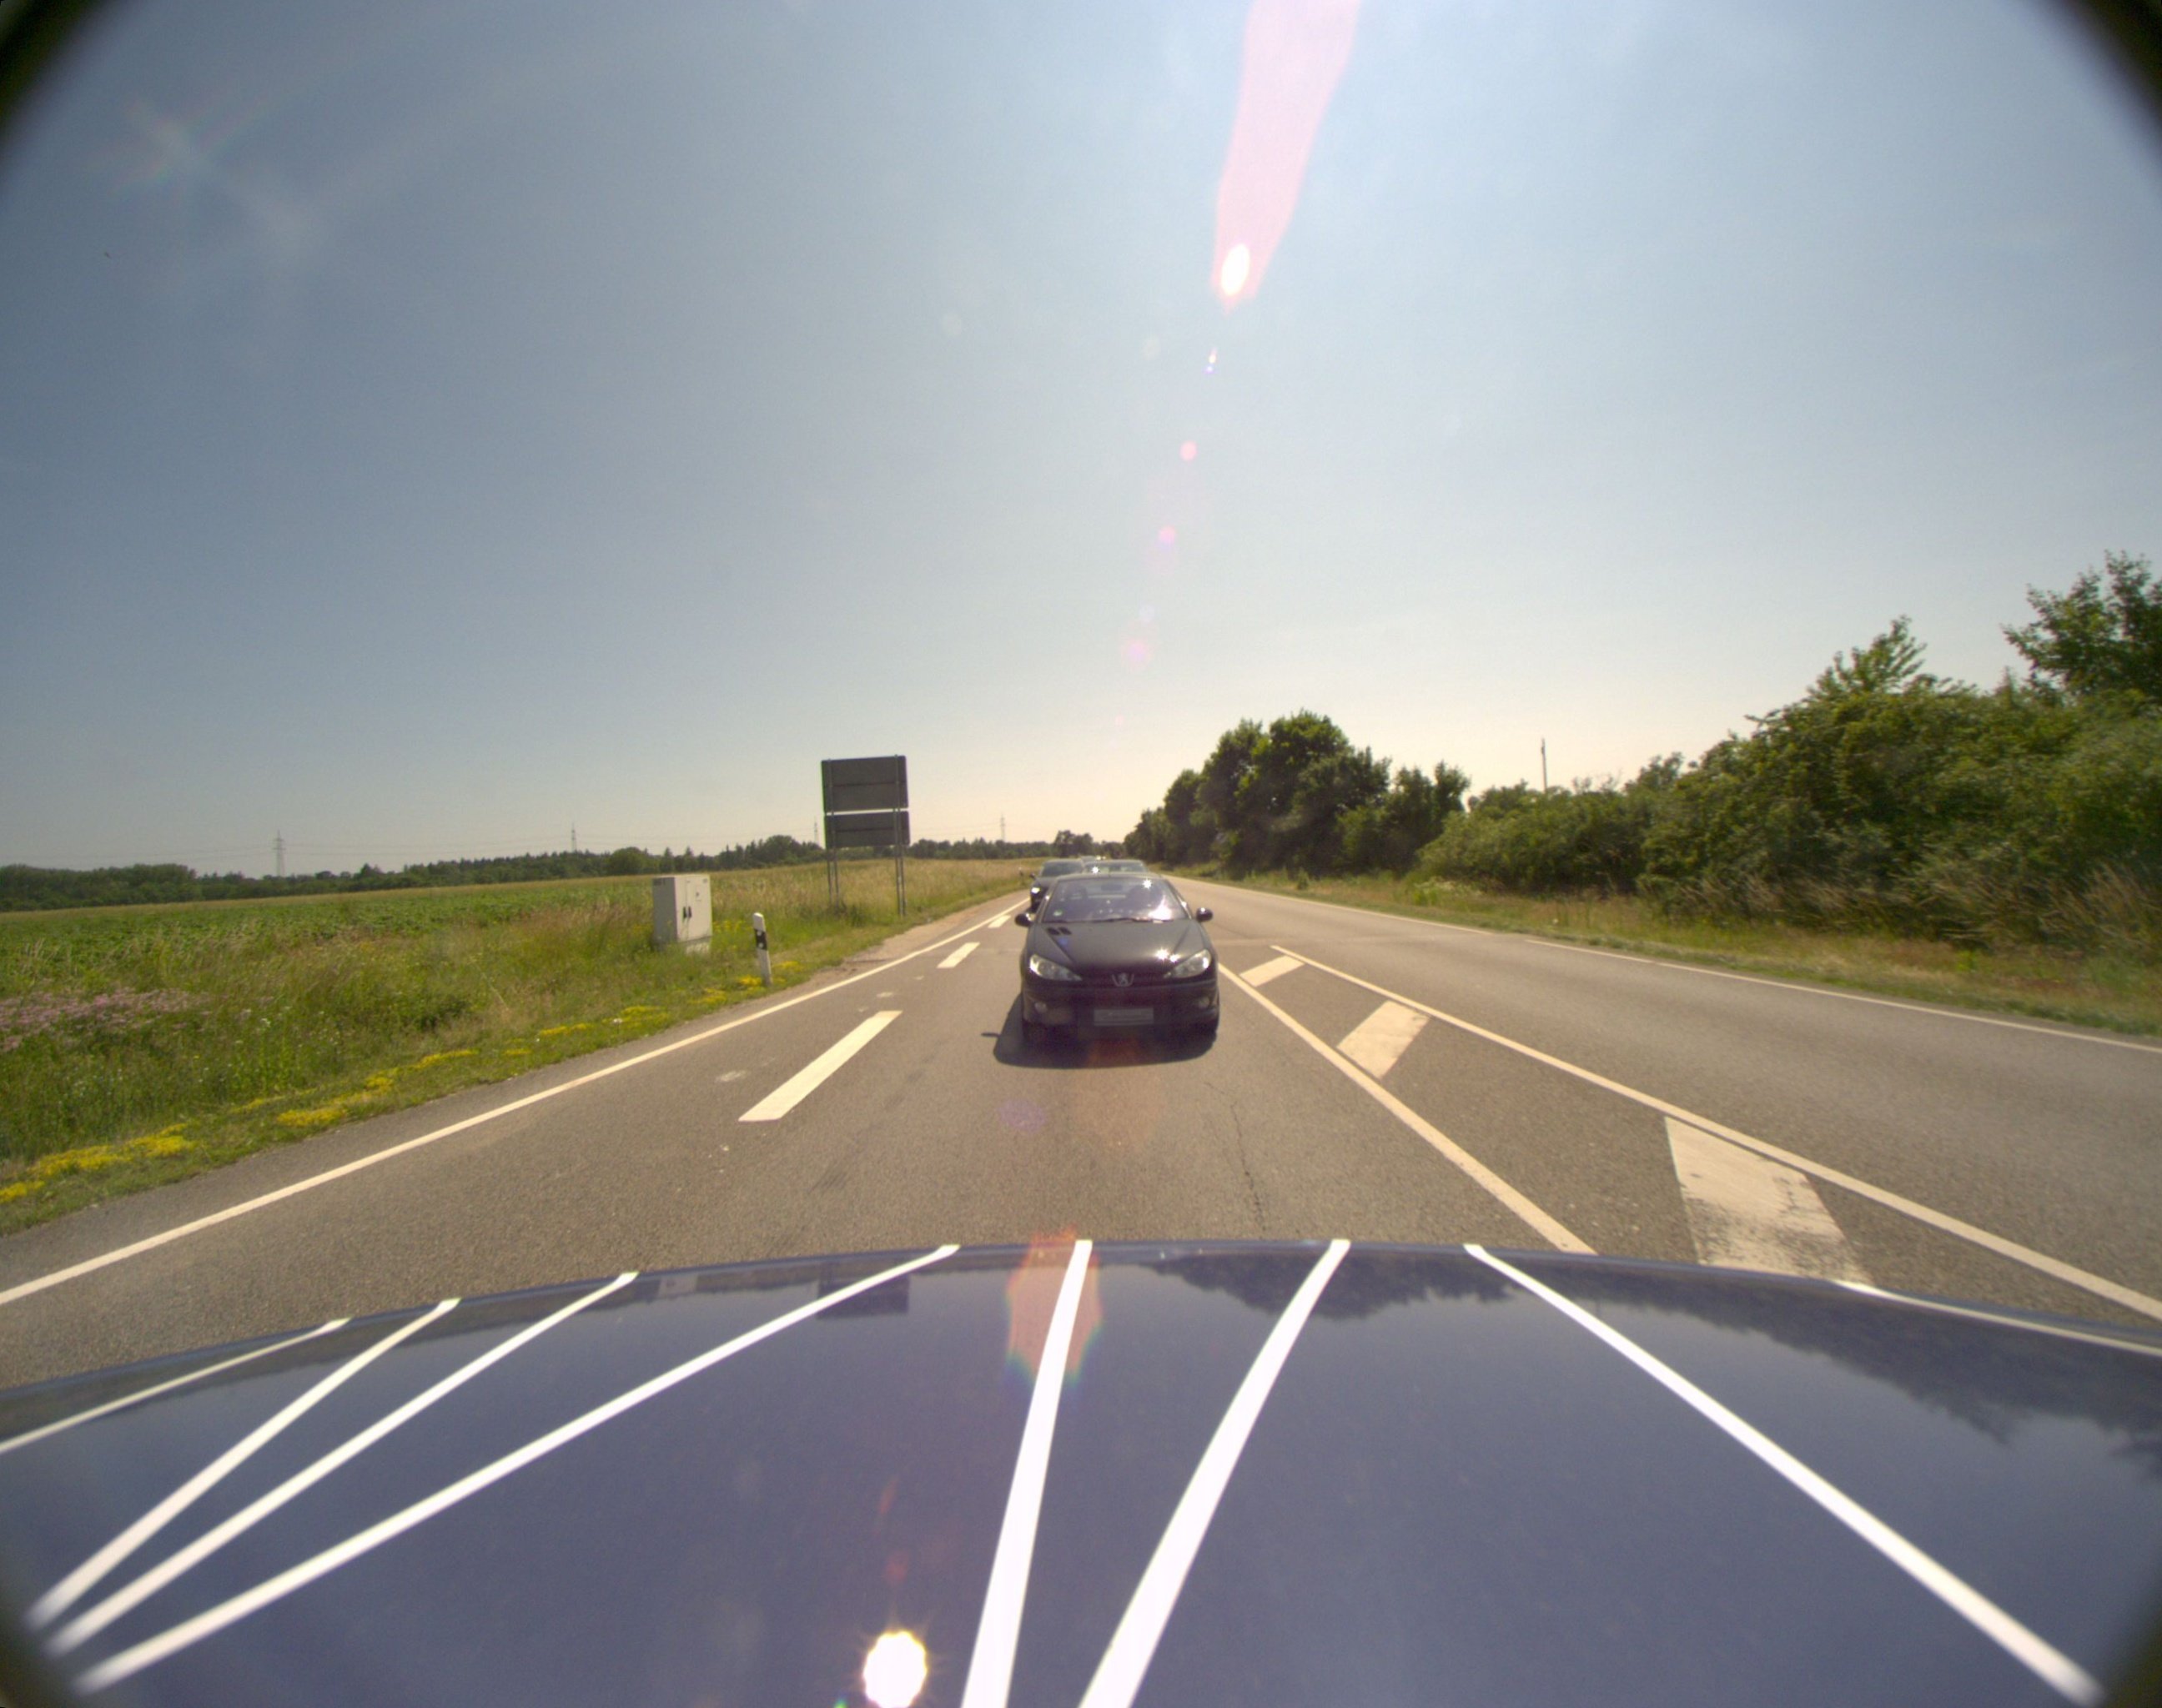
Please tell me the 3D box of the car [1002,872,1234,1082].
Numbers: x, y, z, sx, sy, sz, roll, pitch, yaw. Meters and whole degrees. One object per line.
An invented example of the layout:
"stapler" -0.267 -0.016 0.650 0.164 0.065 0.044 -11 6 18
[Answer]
"car" 0.297 0.953 7.458 1.665 1.389 3.731 -2 0 1

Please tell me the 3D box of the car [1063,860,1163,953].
"car" 0.601 0.918 14.880 1.665 1.477 3.732 -2 0 2

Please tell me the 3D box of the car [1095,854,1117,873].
"car" 1.905 0.712 58.369 1.588 1.294 3.631 -2 0 1

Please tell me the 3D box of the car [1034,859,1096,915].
"car" -0.417 0.931 23.100 1.665 1.449 4.173 -2 0 1

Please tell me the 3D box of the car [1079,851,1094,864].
"car" 0.600 0.403 80.886 1.588 1.294 3.631 -2 0 1
